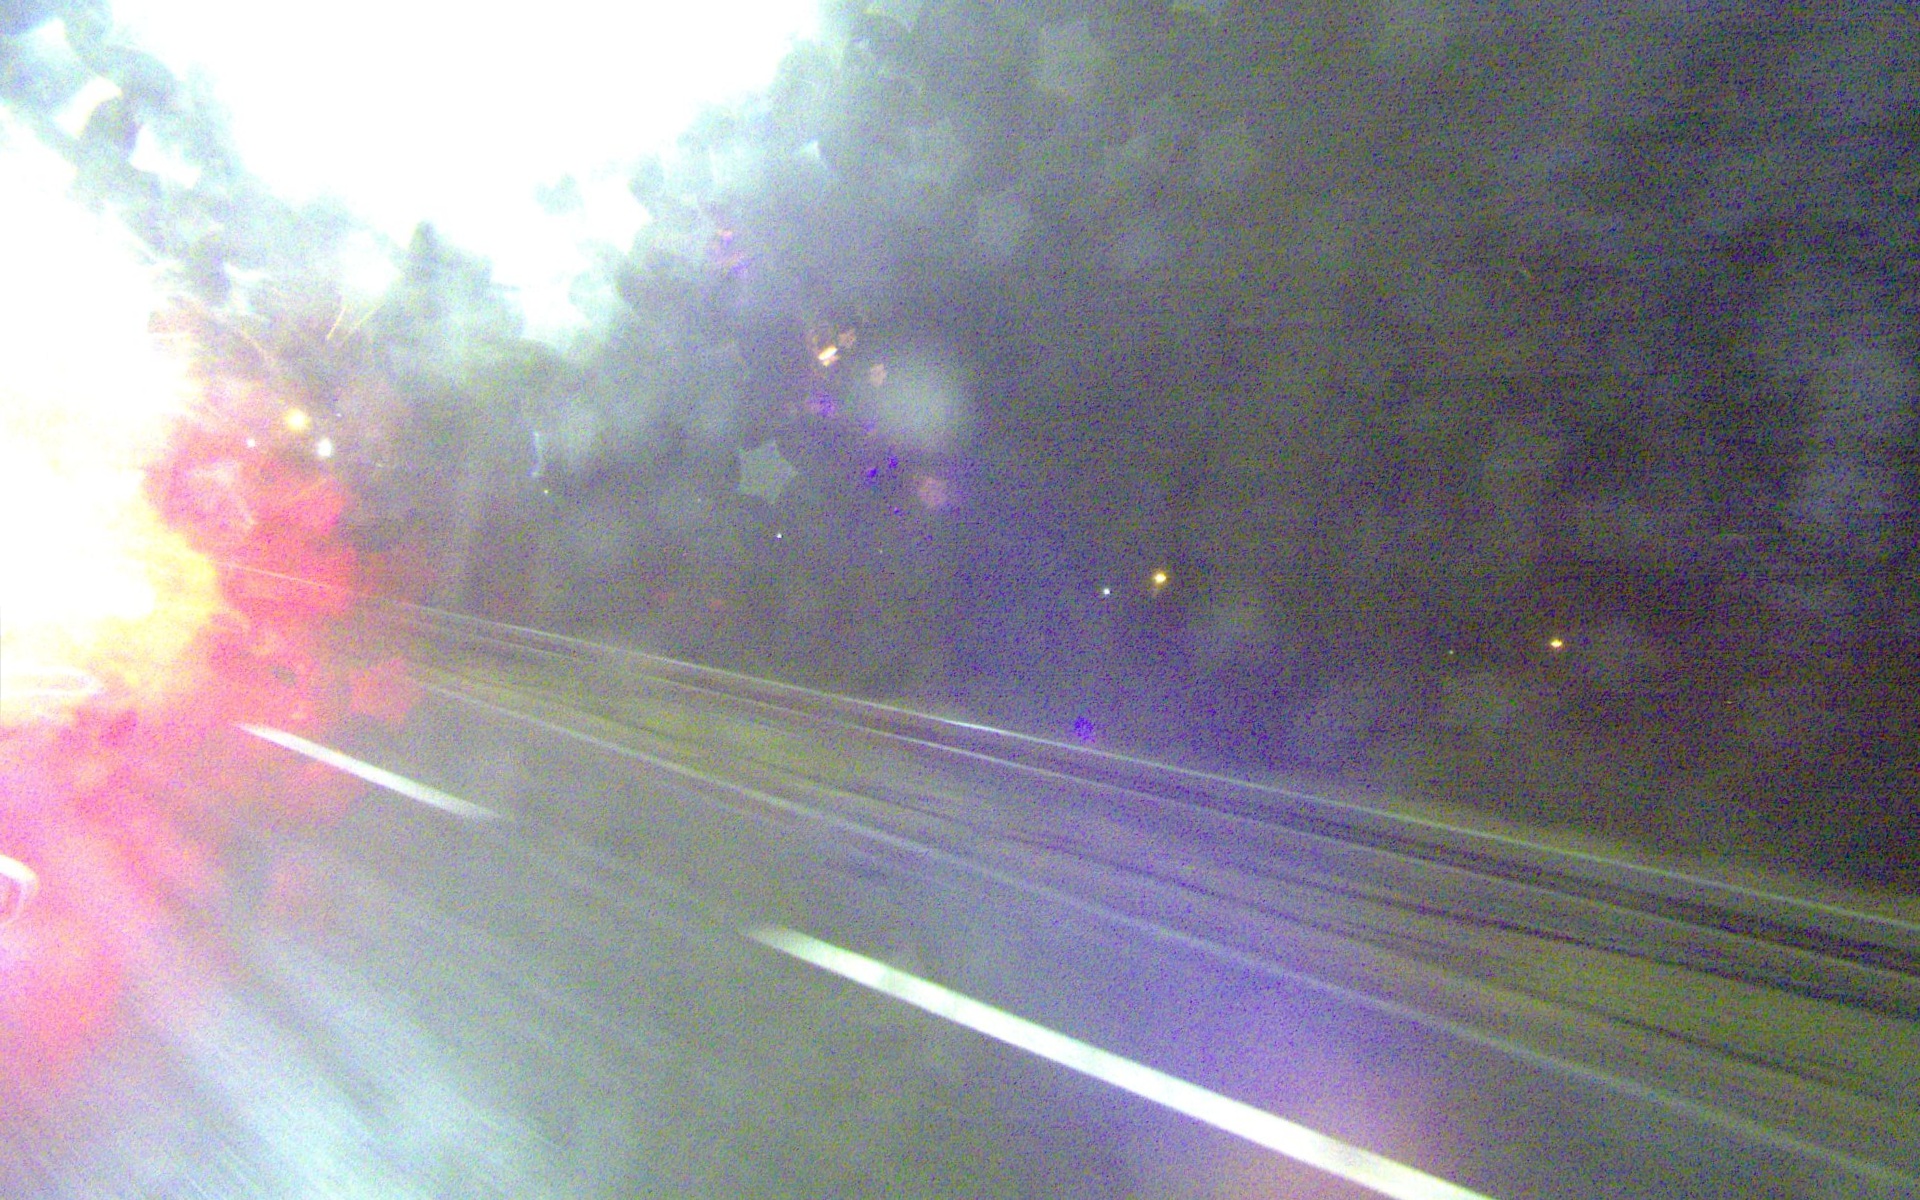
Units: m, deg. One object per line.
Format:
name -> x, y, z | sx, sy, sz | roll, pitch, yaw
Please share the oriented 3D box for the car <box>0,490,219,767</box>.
car -> -6.967, -0.015, 6.725 | 3.938, 1.541, 1.996 | 6, -3, 36
